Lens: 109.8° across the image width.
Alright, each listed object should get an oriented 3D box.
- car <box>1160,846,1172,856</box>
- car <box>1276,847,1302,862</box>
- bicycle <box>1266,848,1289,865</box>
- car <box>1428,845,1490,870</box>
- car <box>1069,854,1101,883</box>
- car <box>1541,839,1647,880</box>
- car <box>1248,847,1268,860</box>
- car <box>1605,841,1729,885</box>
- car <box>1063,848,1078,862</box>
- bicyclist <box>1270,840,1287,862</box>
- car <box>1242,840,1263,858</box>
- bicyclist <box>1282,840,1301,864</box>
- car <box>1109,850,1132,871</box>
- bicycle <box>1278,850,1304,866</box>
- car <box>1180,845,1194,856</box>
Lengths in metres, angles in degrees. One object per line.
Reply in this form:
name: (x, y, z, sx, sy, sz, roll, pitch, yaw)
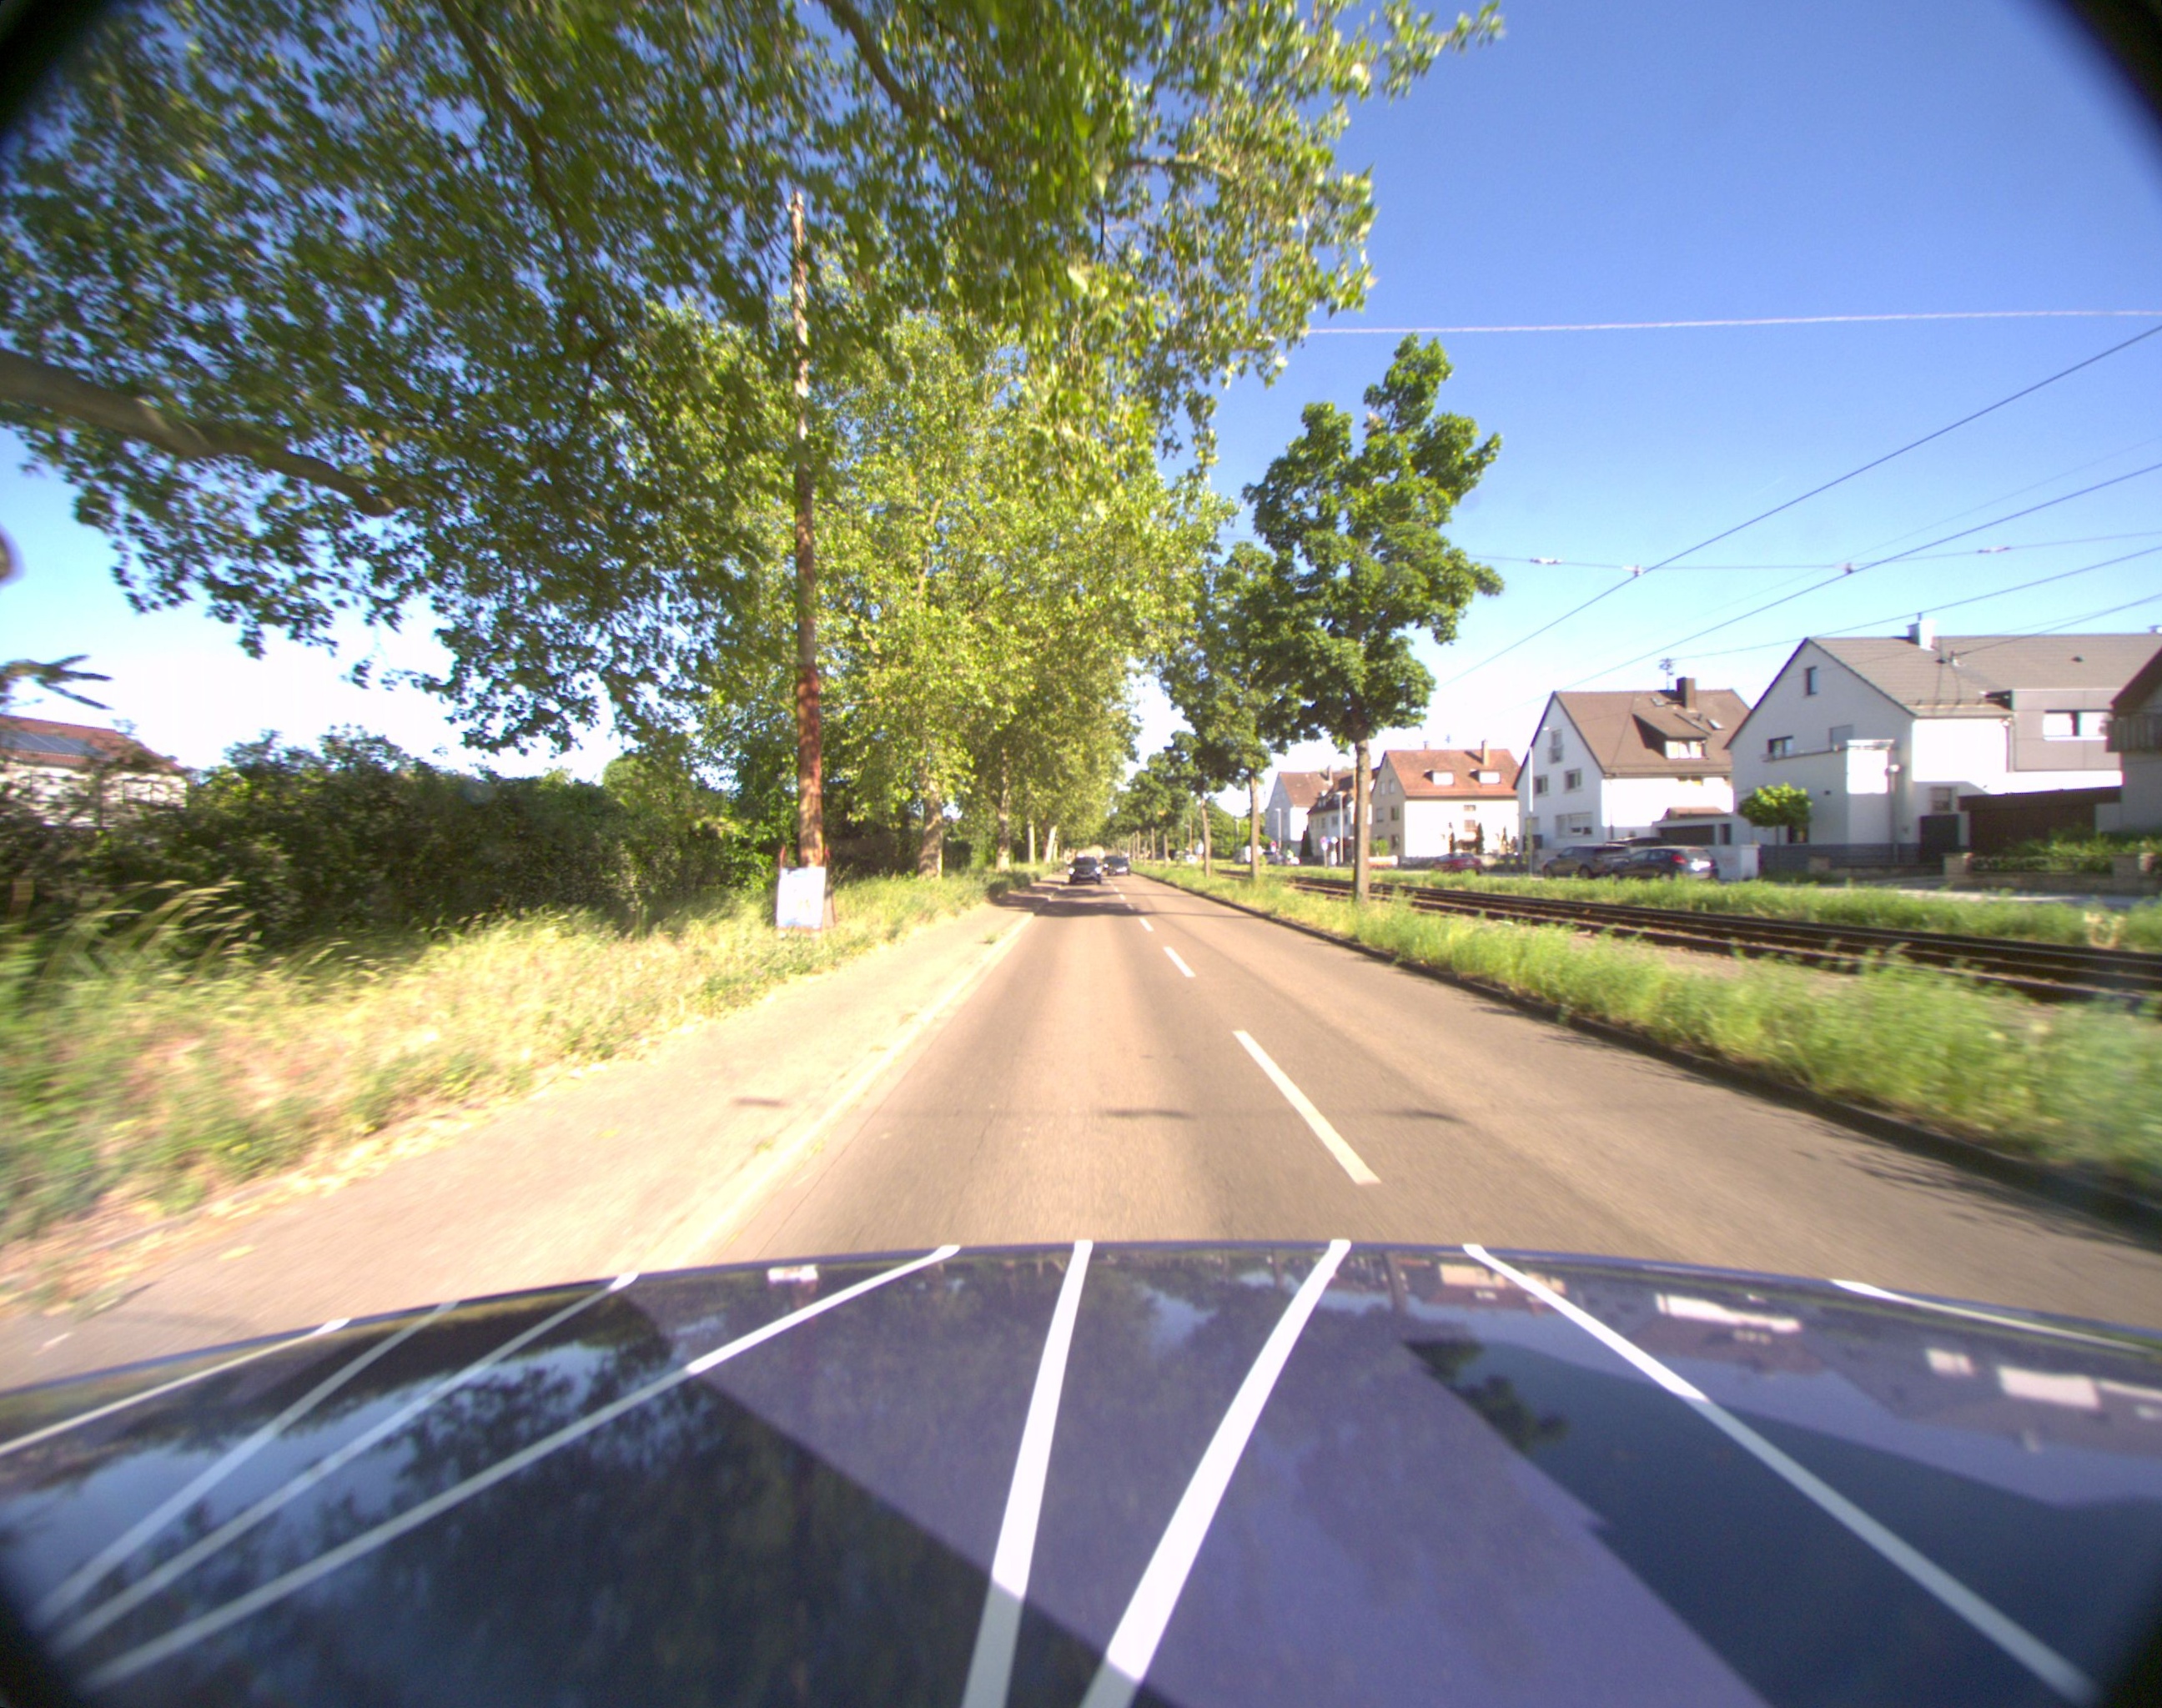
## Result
car: (18.582, -0.665, 165.551, 2.133, 2.023, 3.999, -2, 1, 0)
car: (22.550, 0.039, 82.470, 1.791, 1.497, 4.000, -2, 1, 1)
bicycle: (20.146, 0.253, 78.005, 1.354, 1.568, 4.000, -2, 1, 1)
car: (22.251, 0.188, 44.910, 1.756, 1.373, 3.823, -2, 1, 1)
car: (0.235, 0.796, 43.341, 1.692, 1.499, 3.582, -2, 1, 1)
car: (21.739, 0.191, 32.409, 1.802, 1.588, 4.011, -2, 1, 1)
car: (22.397, -0.040, 96.413, 1.791, 1.497, 4.000, -2, 1, 4)
car: (21.709, 0.295, 28.325, 1.738, 1.481, 3.755, -2, 1, 1)
car: (-1.211, 0.111, 90.054, 1.692, 1.499, 3.582, -2, 1, 1)
bicyclist: (20.094, -0.315, 77.495, 1.354, 2.147, 1.308, -2, 1, 1)
car: (22.868, -0.666, 101.529, 2.132, 2.210, 4.000, -2, 1, 4)
bicyclist: (20.005, -0.181, 72.338, 1.310, 2.220, 1.623, -2, 1, 1)
car: (3.229, 0.503, 61.923, 1.692, 1.499, 3.582, -2, 1, 1)
bicycle: (20.009, 0.354, 72.476, 1.354, 1.486, 4.000, -2, 1, 1)
car: (20.375, -0.754, 145.931, 2.133, 2.023, 3.999, -2, 1, 0)
